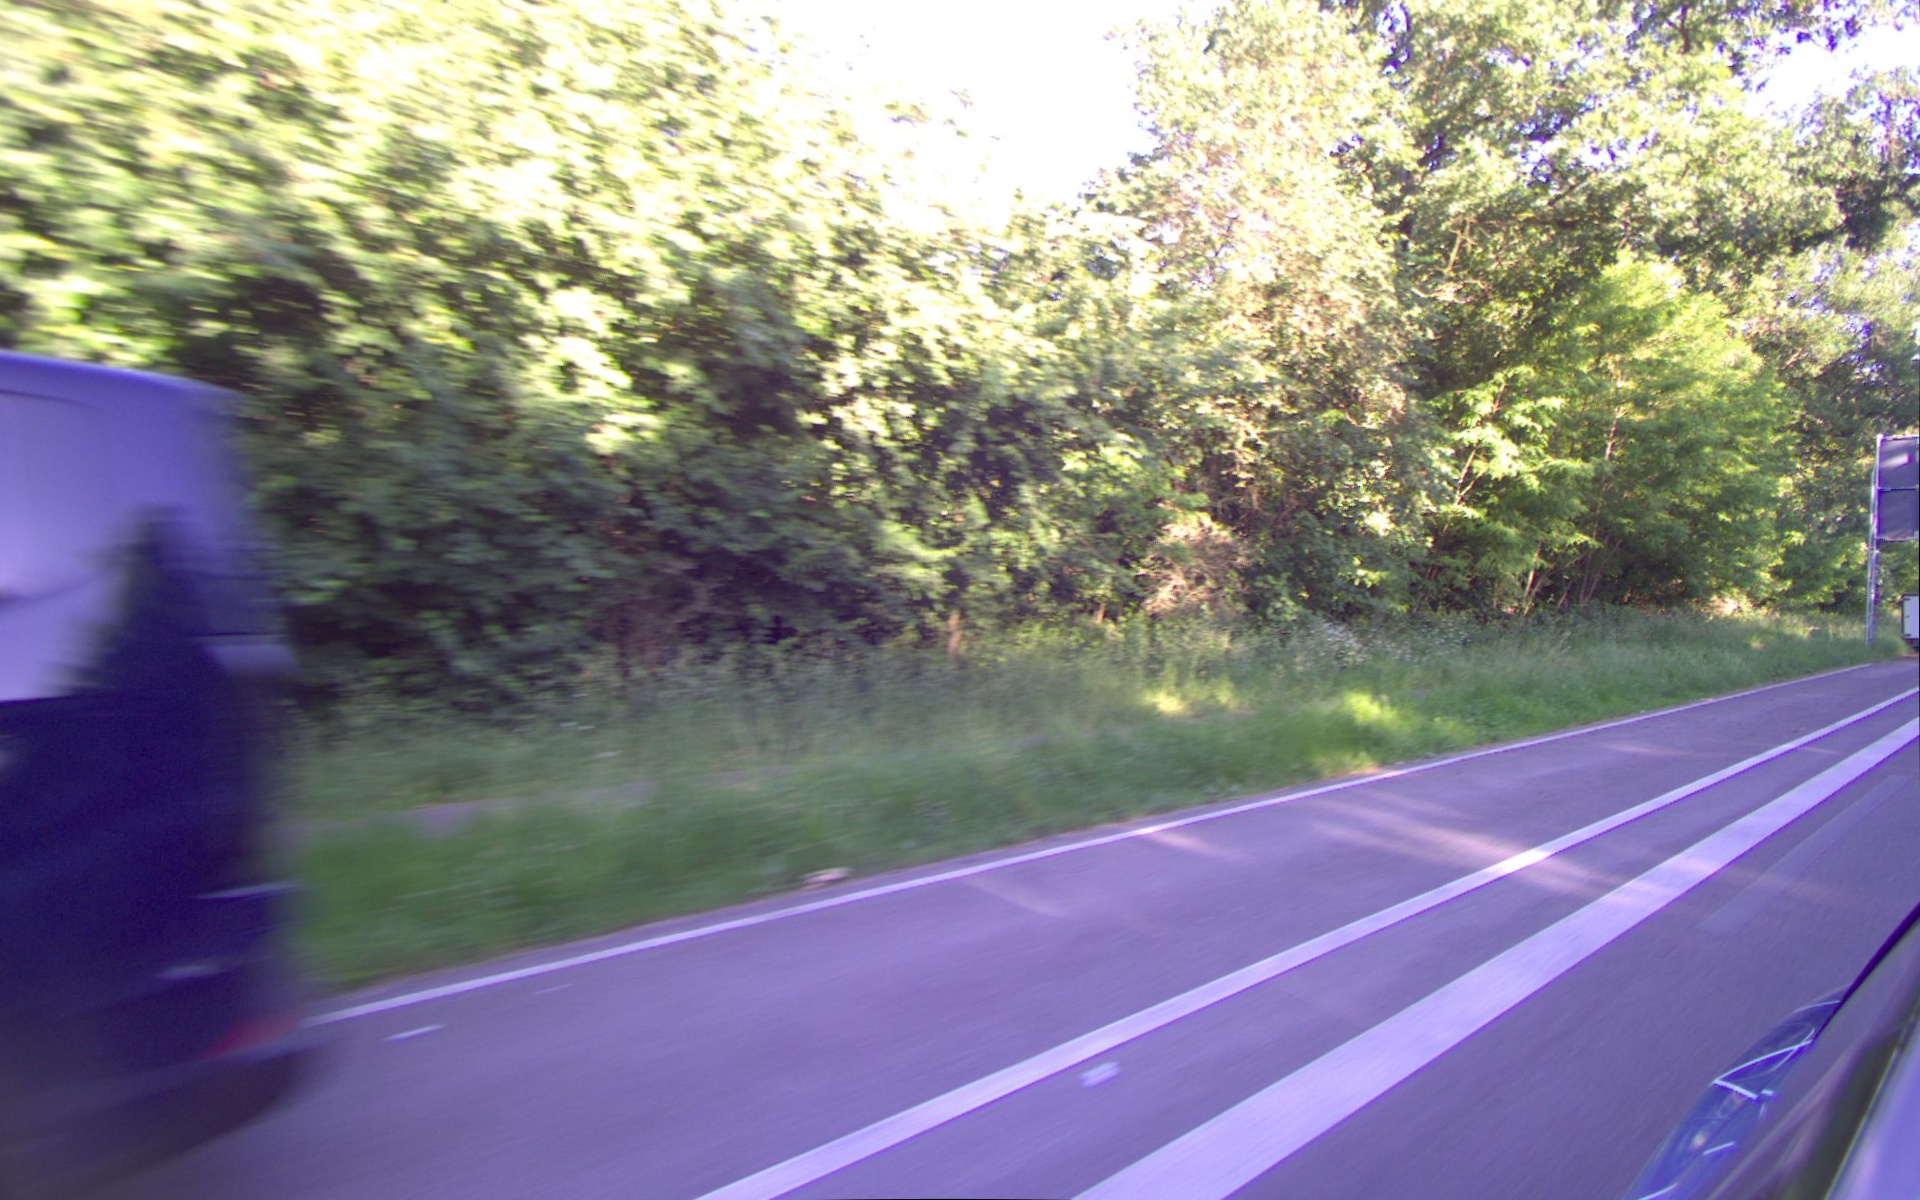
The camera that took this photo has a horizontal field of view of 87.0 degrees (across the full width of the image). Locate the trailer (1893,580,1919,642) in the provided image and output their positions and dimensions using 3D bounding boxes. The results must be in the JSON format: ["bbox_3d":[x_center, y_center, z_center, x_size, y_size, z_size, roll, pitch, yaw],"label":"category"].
[{"bbox_3d":[33.343,0.390,33.616,3.763,2.048,1.973,1,1,-21],"label":"trailer"}]

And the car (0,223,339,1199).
[{"bbox_3d":[-3.724,0.430,1.104,4.950,2.039,2.117,0,-1,-40],"label":"car"}]
